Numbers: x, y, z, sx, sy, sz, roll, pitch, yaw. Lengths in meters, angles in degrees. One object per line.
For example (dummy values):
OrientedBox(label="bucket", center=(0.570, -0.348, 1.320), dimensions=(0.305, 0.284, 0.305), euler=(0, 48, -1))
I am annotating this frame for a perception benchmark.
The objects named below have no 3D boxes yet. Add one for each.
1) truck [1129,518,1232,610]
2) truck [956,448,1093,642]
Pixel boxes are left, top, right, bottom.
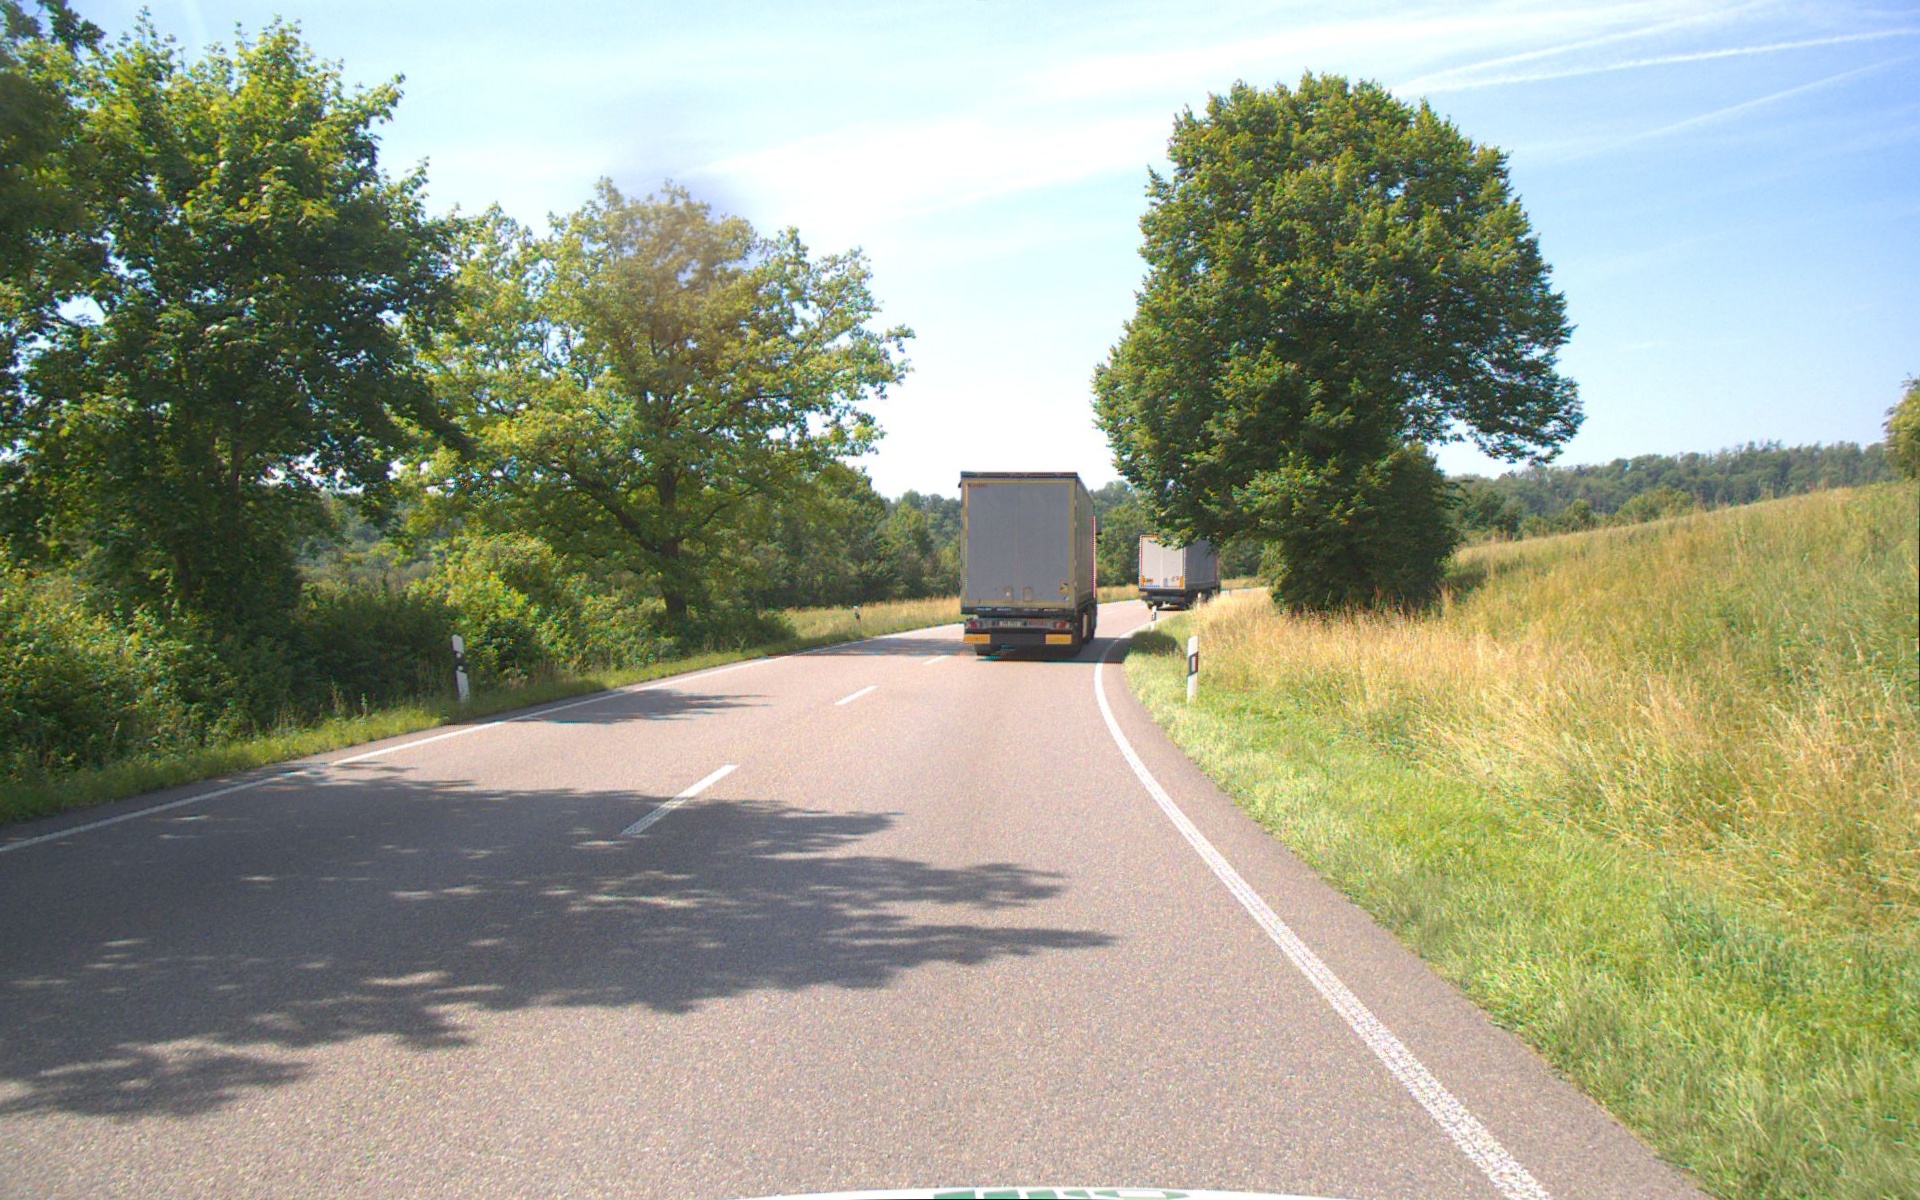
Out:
OrientedBox(label="truck", center=(12.875, -1.984, 94.842), dimensions=(3.039, 4.788, 16.598), euler=(-1, 1, 17))
OrientedBox(label="truck", center=(1.986, -1.271, 42.990), dimensions=(2.742, 4.139, 15.336), euler=(0, 1, 5))
